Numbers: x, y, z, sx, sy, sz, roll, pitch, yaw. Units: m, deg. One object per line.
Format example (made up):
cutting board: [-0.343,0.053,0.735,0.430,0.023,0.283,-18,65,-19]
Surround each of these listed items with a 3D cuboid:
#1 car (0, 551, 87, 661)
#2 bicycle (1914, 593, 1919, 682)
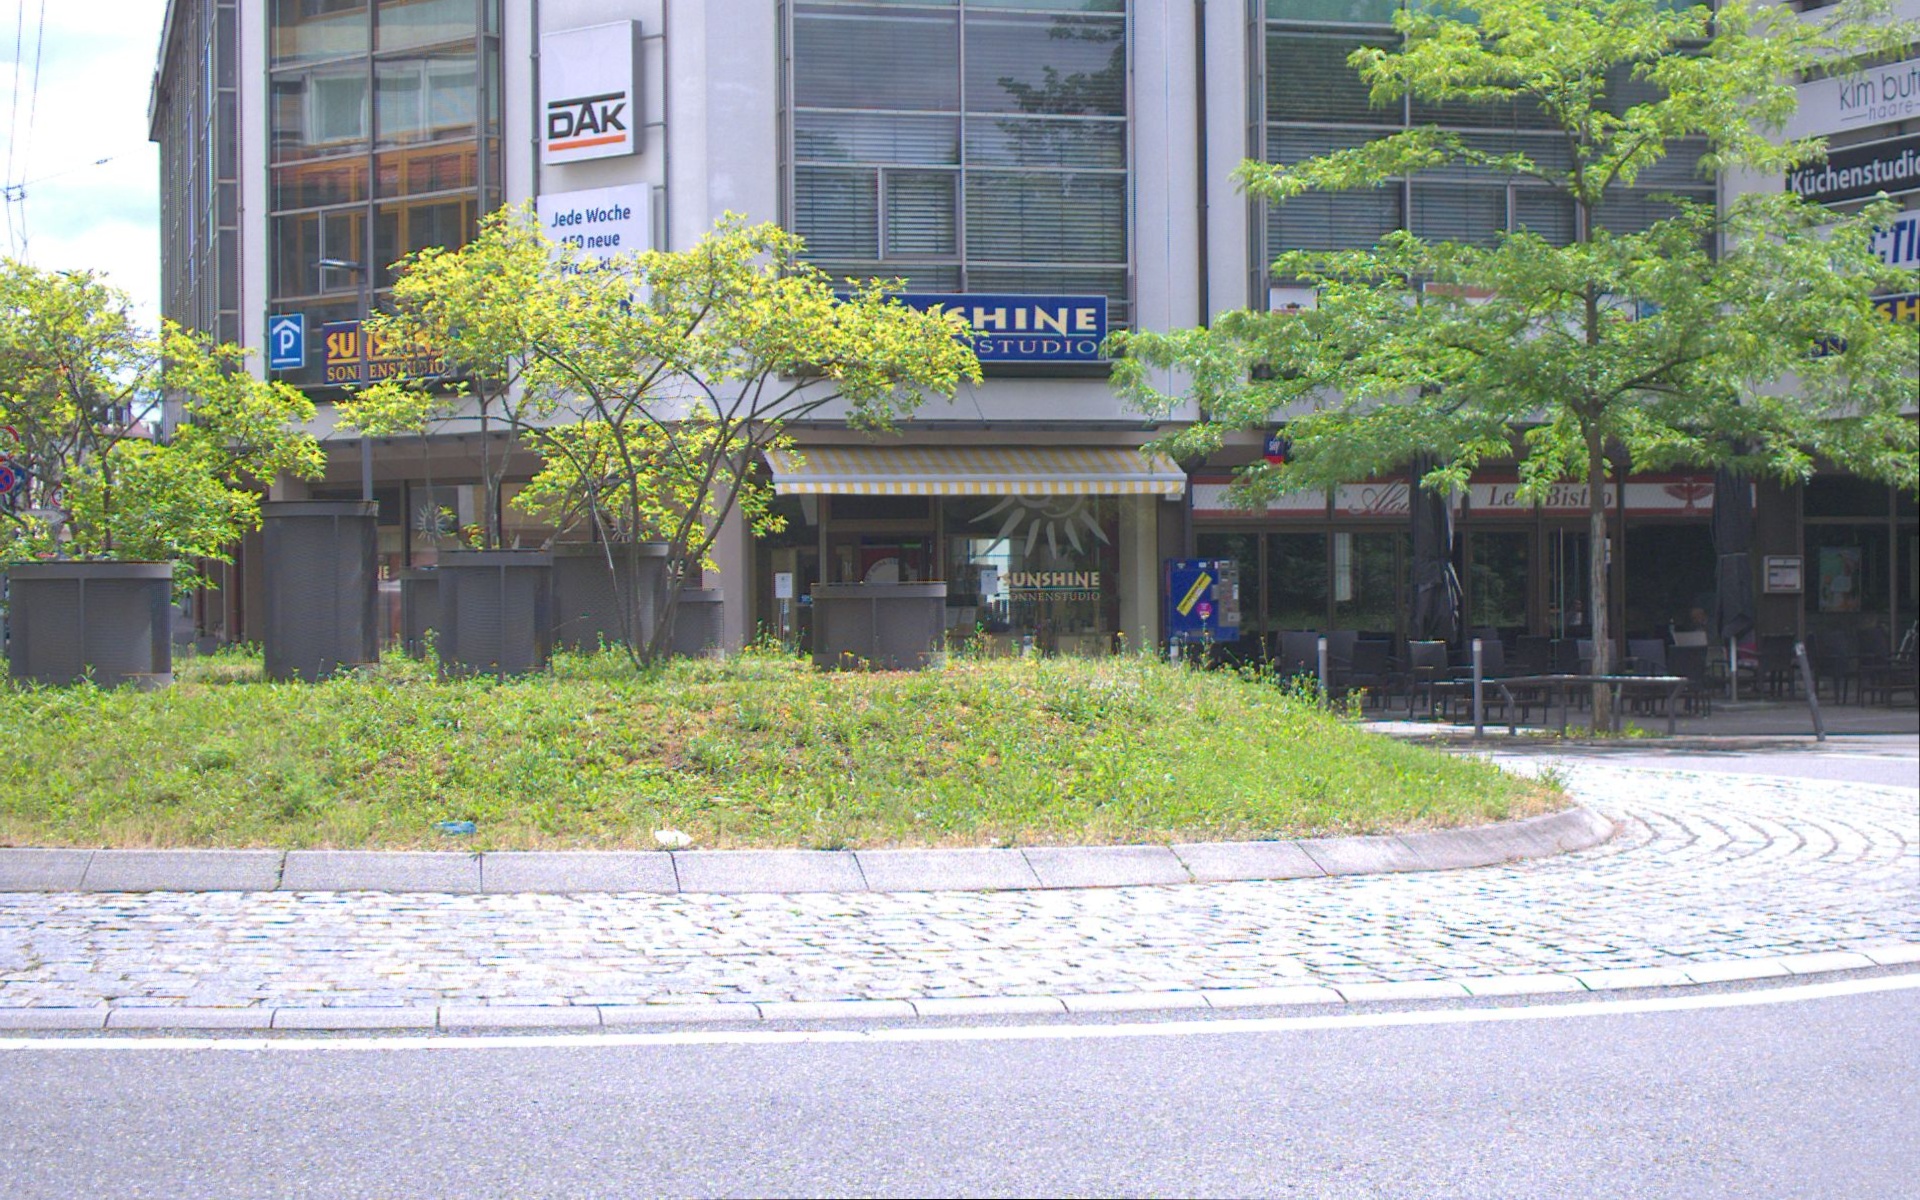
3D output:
car: [-15.371,0.084,56.164,1.824,1.725,4.234,-1,1,-10]
bicycle: [13.415,0.515,45.357,1.540,1.164,0.495,1,-1,20]
